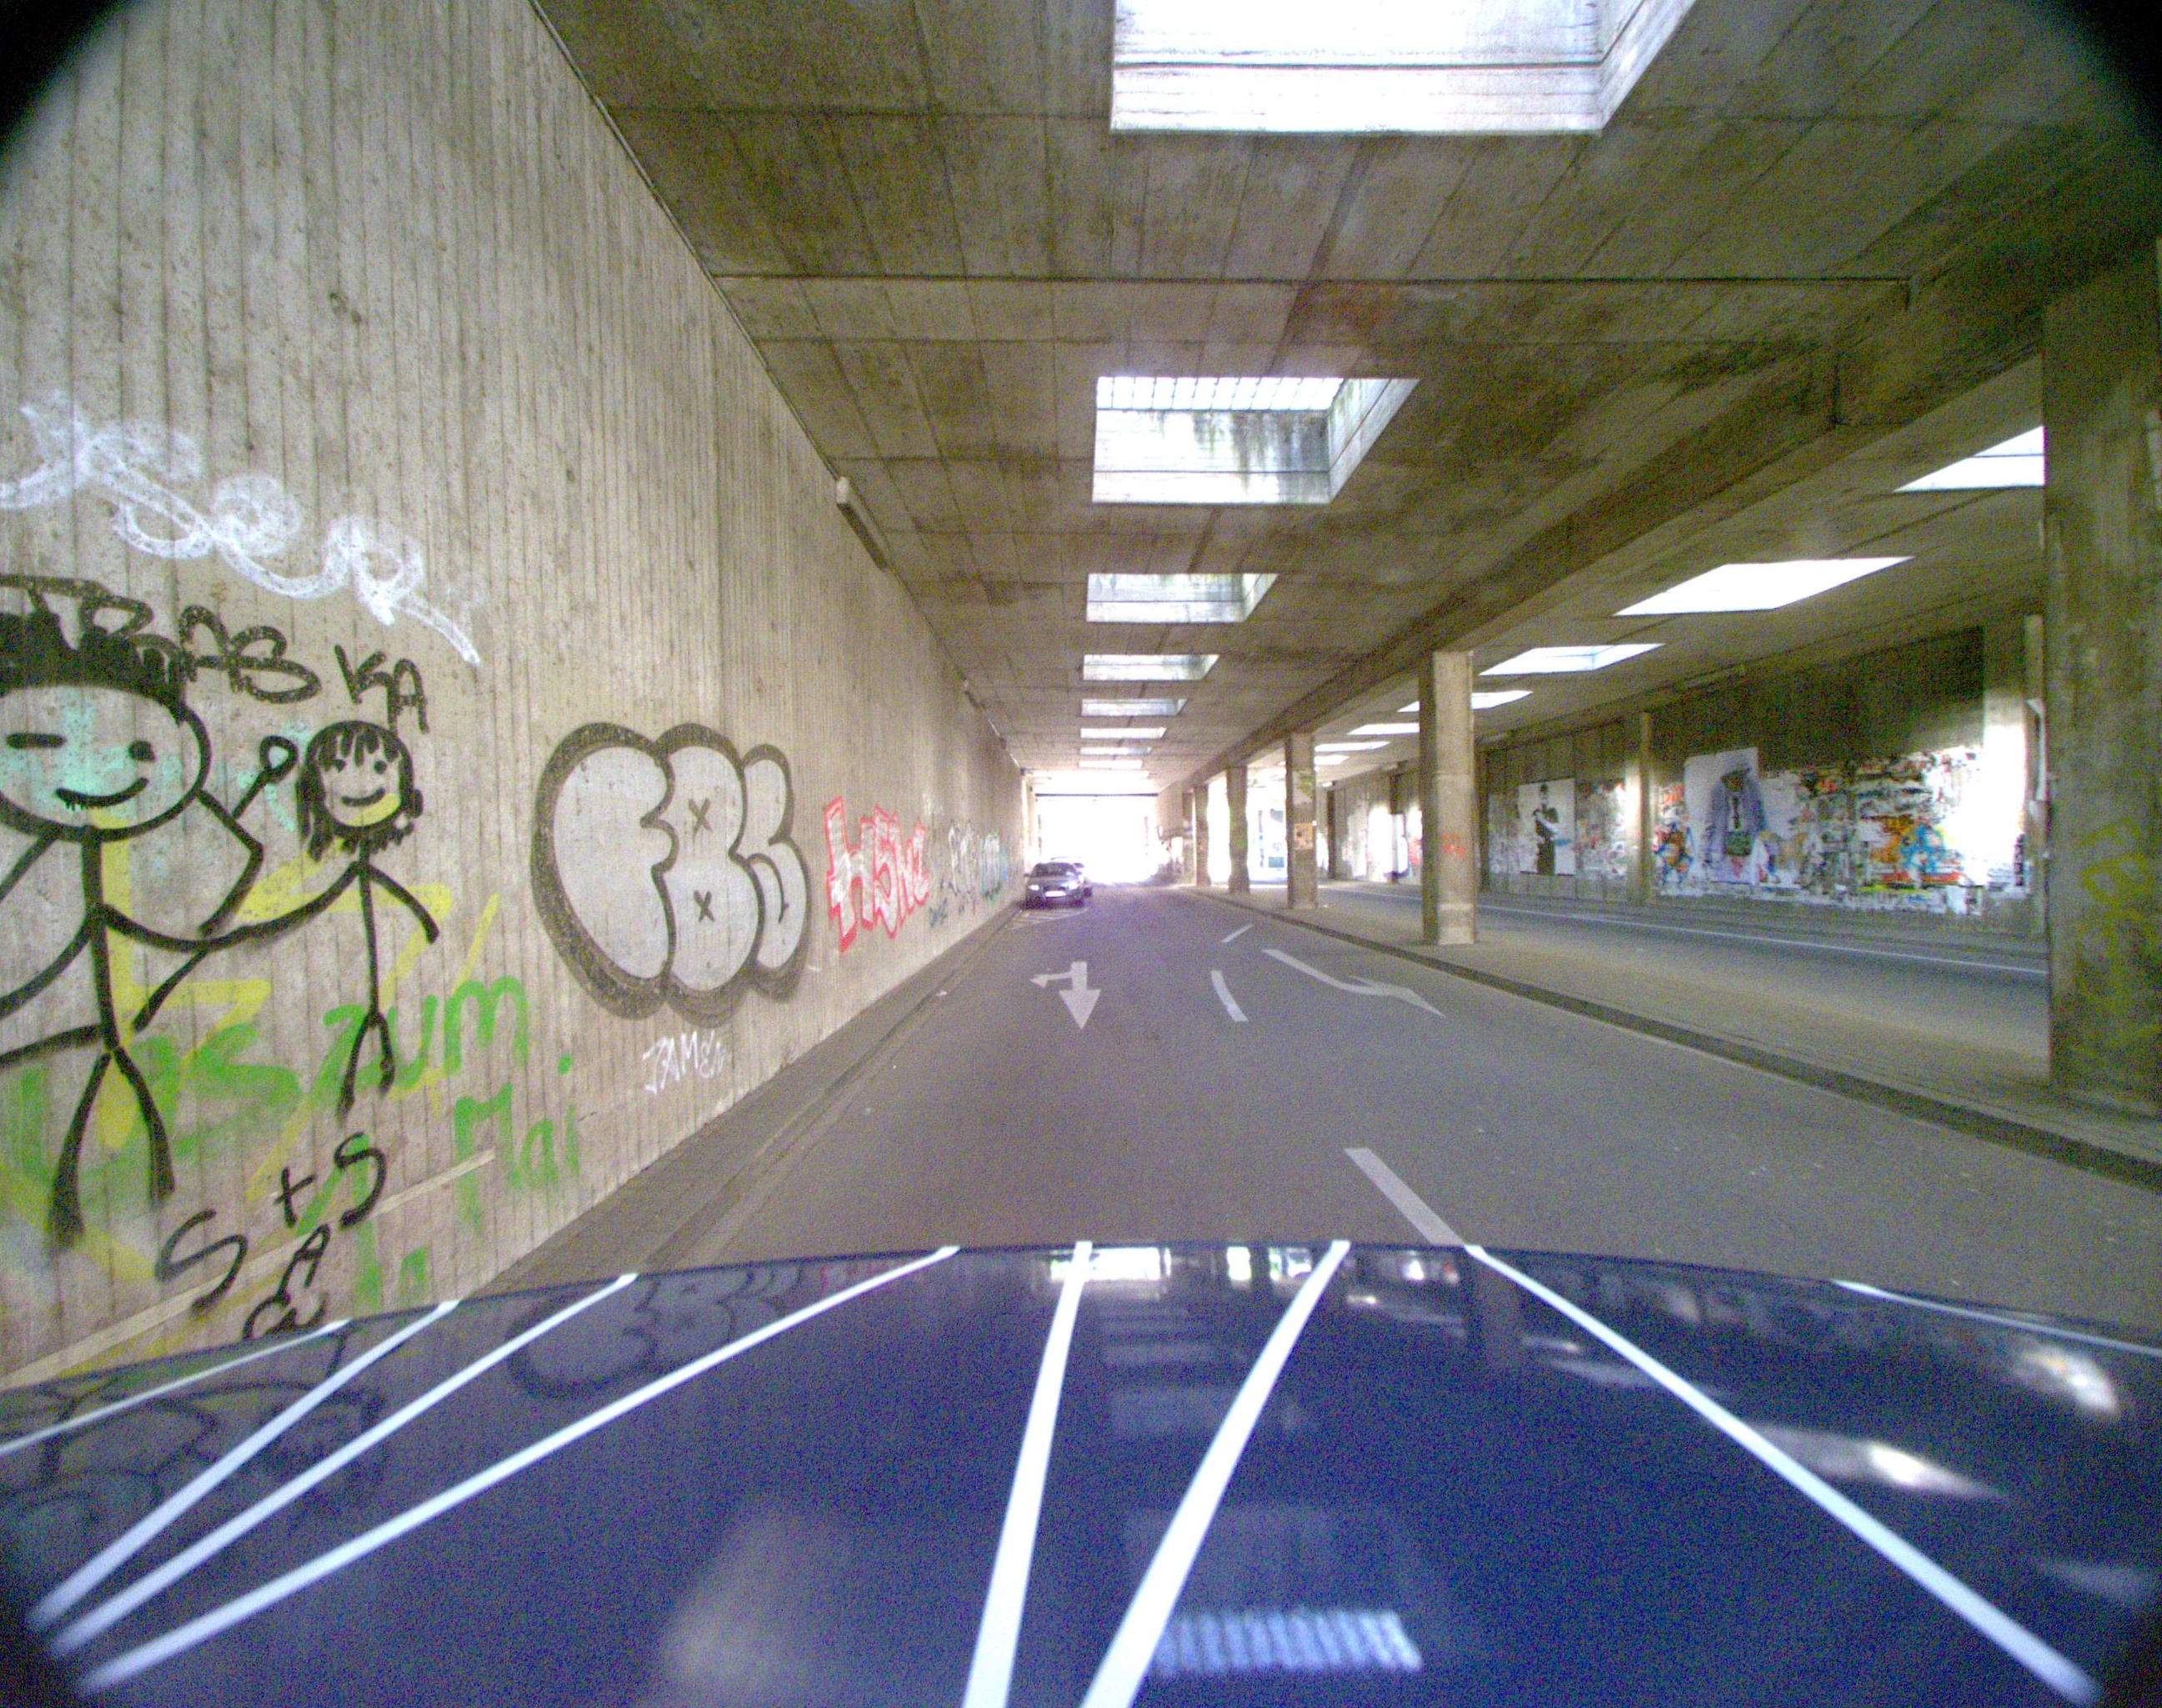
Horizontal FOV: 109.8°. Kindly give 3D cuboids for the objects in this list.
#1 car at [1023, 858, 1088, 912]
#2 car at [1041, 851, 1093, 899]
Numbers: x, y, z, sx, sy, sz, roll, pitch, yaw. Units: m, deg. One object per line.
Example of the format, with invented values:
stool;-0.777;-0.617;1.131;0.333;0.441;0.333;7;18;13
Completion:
car;-0.727;0.913;24.048;1.808;1.460;4.000;-2;0;1
car;-0.489;0.760;29.868;1.861;1.709;4.000;-2;0;1
